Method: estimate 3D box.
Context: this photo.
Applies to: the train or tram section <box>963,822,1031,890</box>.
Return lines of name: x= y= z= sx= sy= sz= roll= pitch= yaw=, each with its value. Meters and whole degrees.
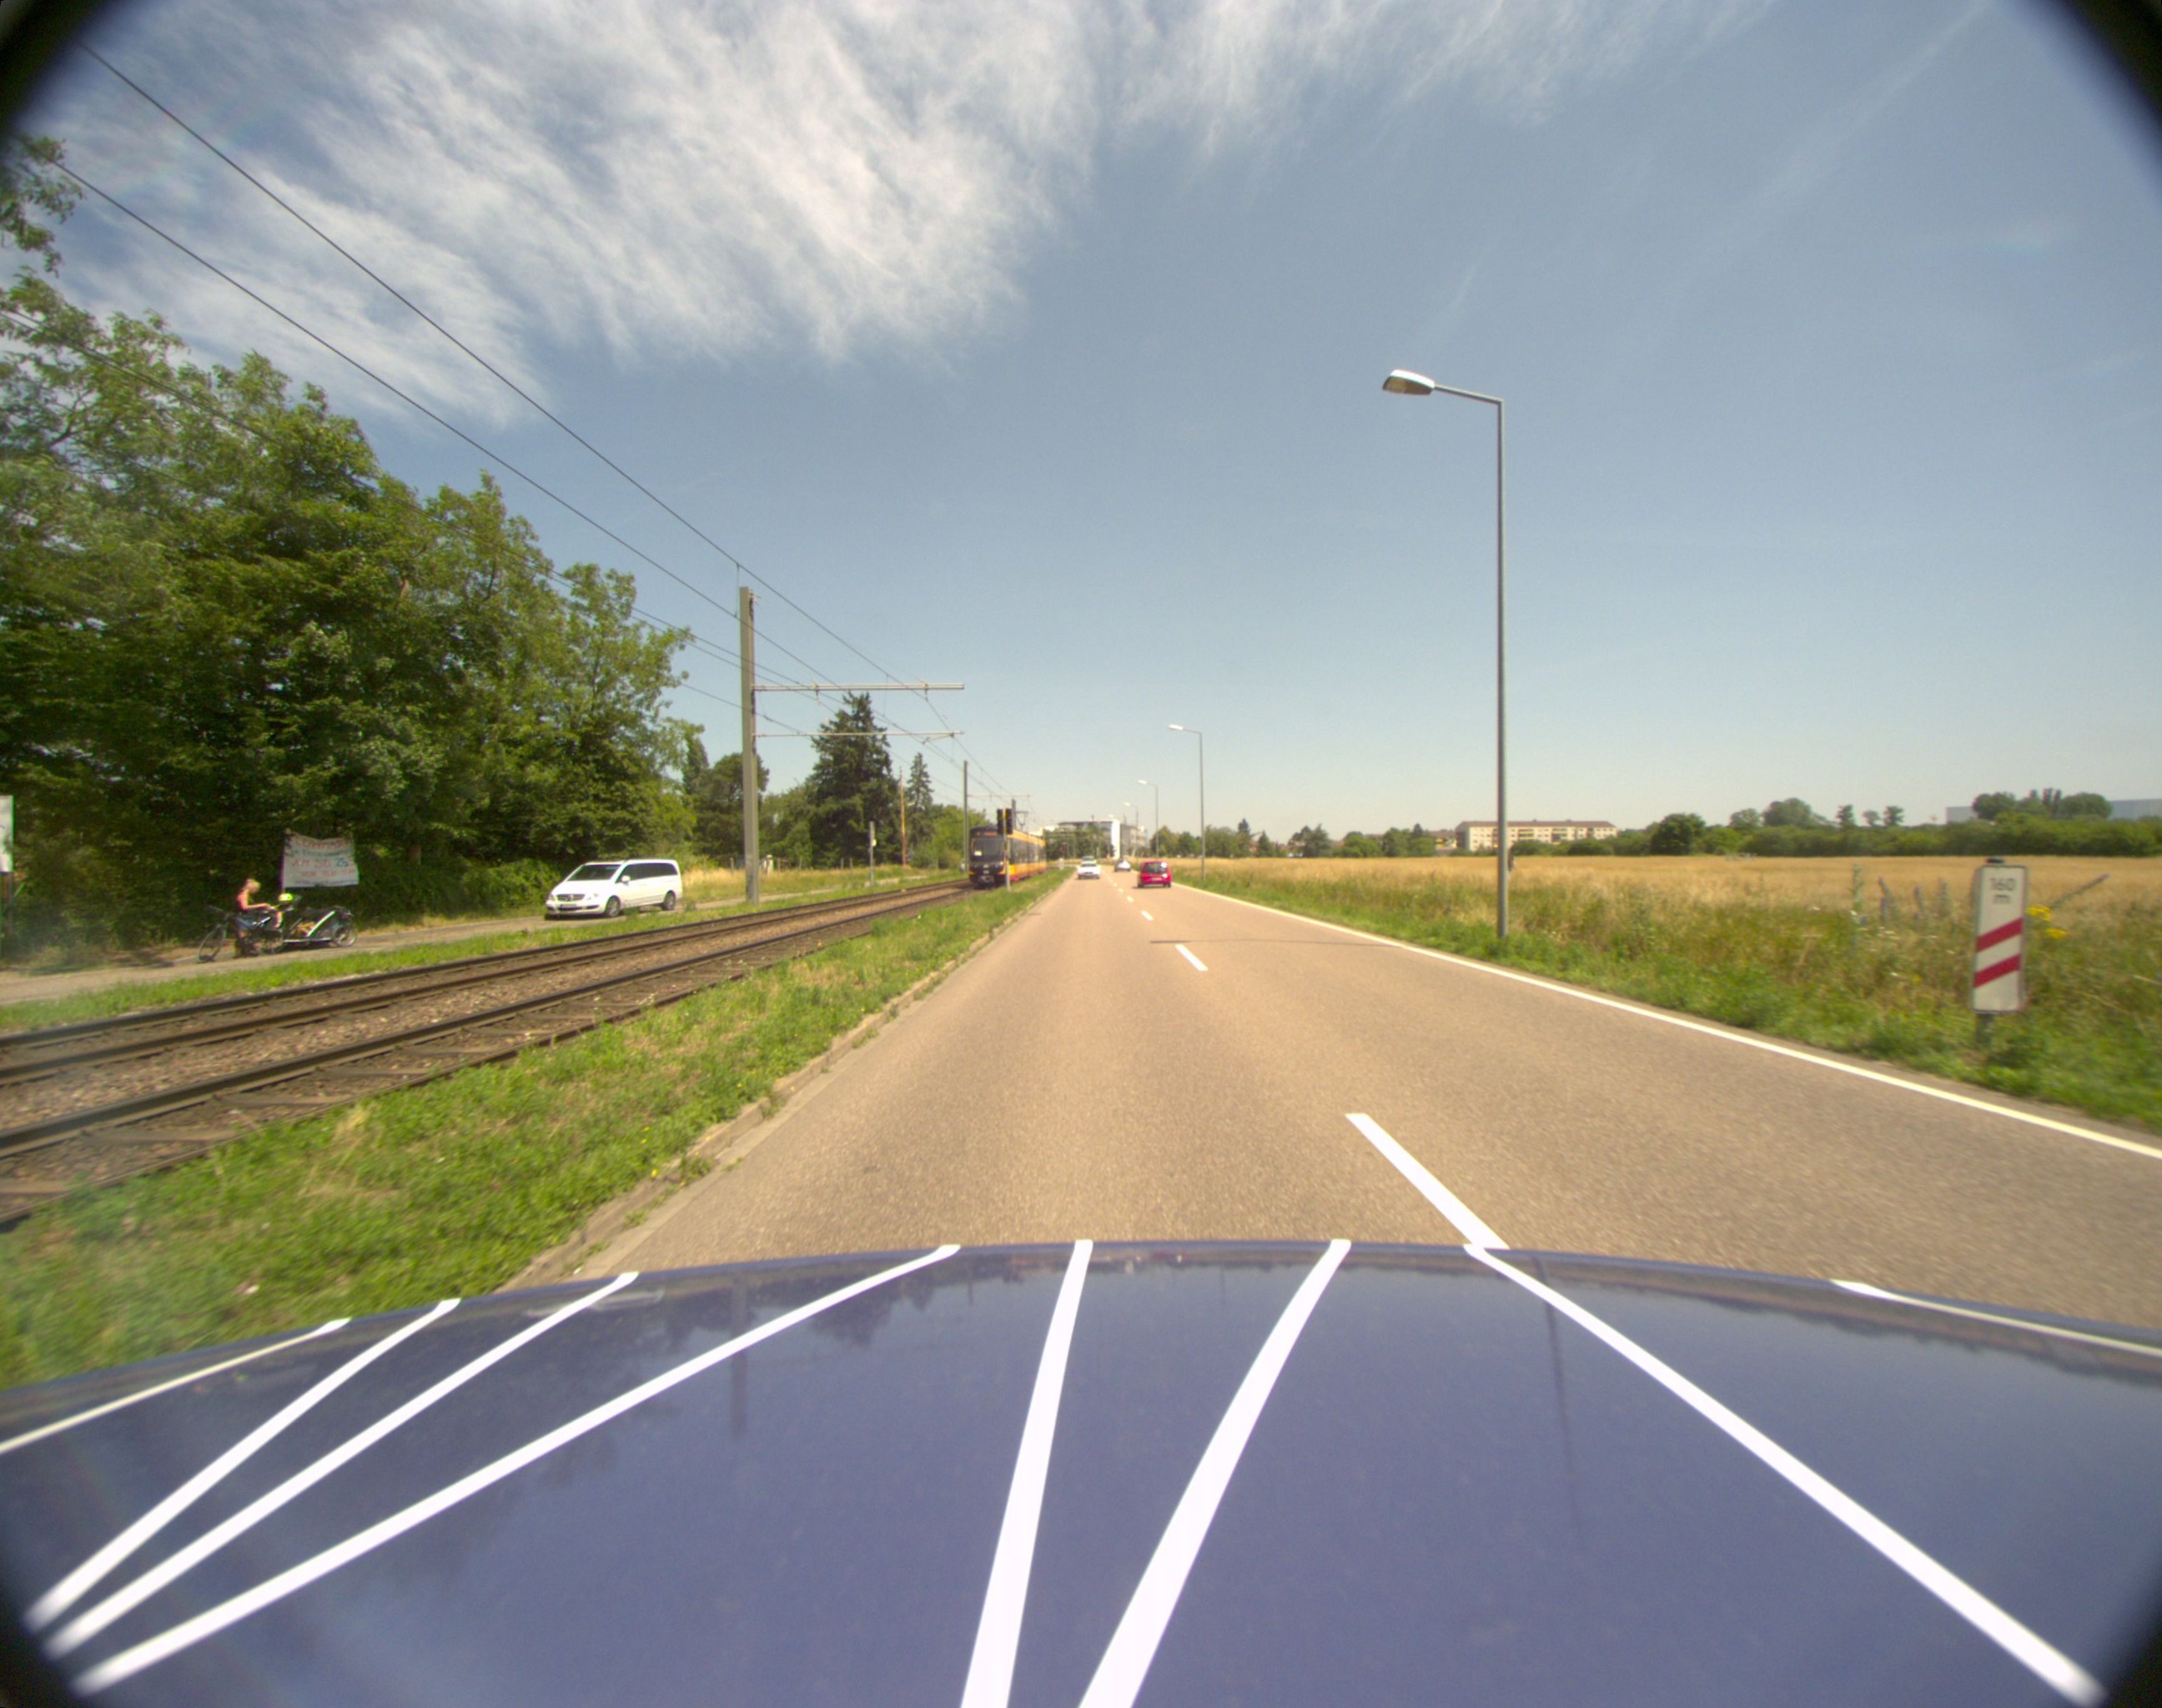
train or tram section: x=-4.936 y=-0.004 z=46.740 sx=2.772 sy=3.668 sz=11.184 roll=0 pitch=1 yaw=1

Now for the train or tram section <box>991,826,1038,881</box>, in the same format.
train or tram section: x=-4.758 y=-0.070 z=55.726 sx=2.708 sy=3.745 sz=6.728 roll=0 pitch=1 yaw=1

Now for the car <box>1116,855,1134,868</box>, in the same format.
car: x=5.141 y=0.882 z=89.432 sx=1.839 sy=1.458 sz=4.678 roll=-1 pitch=0 yaw=1

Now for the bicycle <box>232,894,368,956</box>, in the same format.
bicycle: x=-16.692 y=1.491 z=16.312 sx=1.148 sy=1.140 sz=1.658 roll=0 pitch=1 yaw=1

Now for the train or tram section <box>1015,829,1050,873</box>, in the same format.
train or tram section: x=-4.446 y=-0.347 z=71.657 sx=2.435 sy=3.745 sz=11.557 roll=0 pitch=1 yaw=1

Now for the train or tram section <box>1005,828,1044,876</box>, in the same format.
train or tram section: x=-4.535 y=-0.195 z=62.473 sx=2.567 sy=3.692 sz=6.728 roll=0 pitch=1 yaw=1

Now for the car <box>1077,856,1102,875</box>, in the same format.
car: x=0.733 y=0.922 z=63.637 sx=1.771 sy=1.434 sz=4.130 roll=0 pitch=1 yaw=5

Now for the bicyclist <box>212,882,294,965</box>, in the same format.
bicyclist: x=-16.684 y=1.376 z=15.338 sx=0.610 sy=1.579 sz=0.925 roll=-1 pitch=1 yaw=-4

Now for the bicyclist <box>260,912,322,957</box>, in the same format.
bicyclist: x=-16.939 y=1.716 z=16.308 sx=0.524 sy=0.871 sz=0.762 roll=-1 pitch=1 yaw=-4

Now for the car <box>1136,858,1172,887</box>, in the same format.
car: x=3.903 y=0.975 z=41.205 sx=1.649 sy=1.392 sz=3.844 roll=0 pitch=1 yaw=1

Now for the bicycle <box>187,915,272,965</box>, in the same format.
bicycle: x=-16.700 y=1.675 z=14.920 sx=0.751 sy=0.870 sz=0.798 roll=0 pitch=1 yaw=1

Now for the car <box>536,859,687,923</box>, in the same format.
car: x=-15.936 y=1.161 z=26.186 sx=1.998 sy=1.865 sz=5.014 roll=0 pitch=1 yaw=1
